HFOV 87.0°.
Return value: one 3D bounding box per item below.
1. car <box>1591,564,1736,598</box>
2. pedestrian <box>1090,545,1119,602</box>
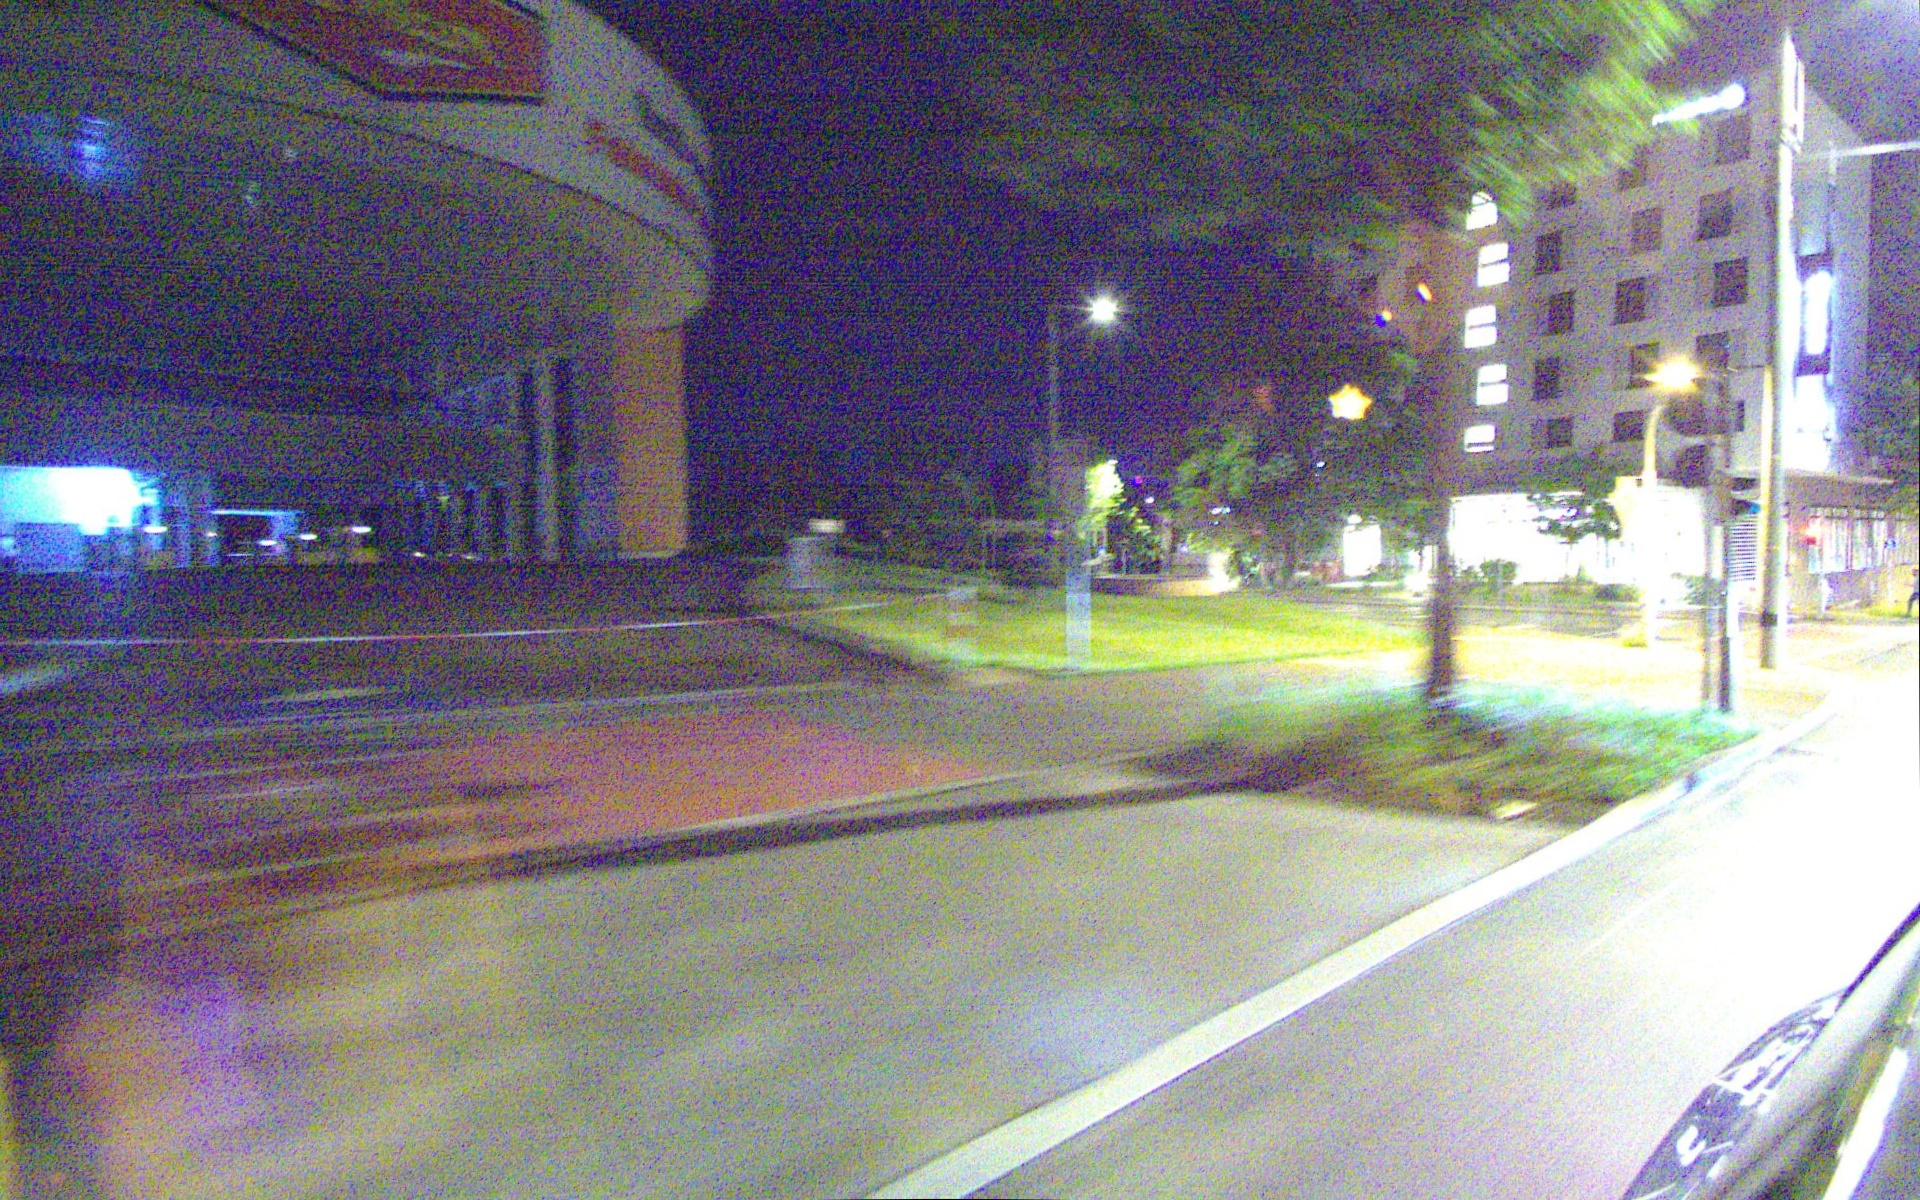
[{"bbox_3d":[25.084,-0.681,36.193,3.935,1.047,1.480,2,1,10],"label":"car"},{"bbox_3d":[4.877,-0.885,34.135,0.719,1.900,0.663,-1,1,-42],"label":"pedestrian"}]
